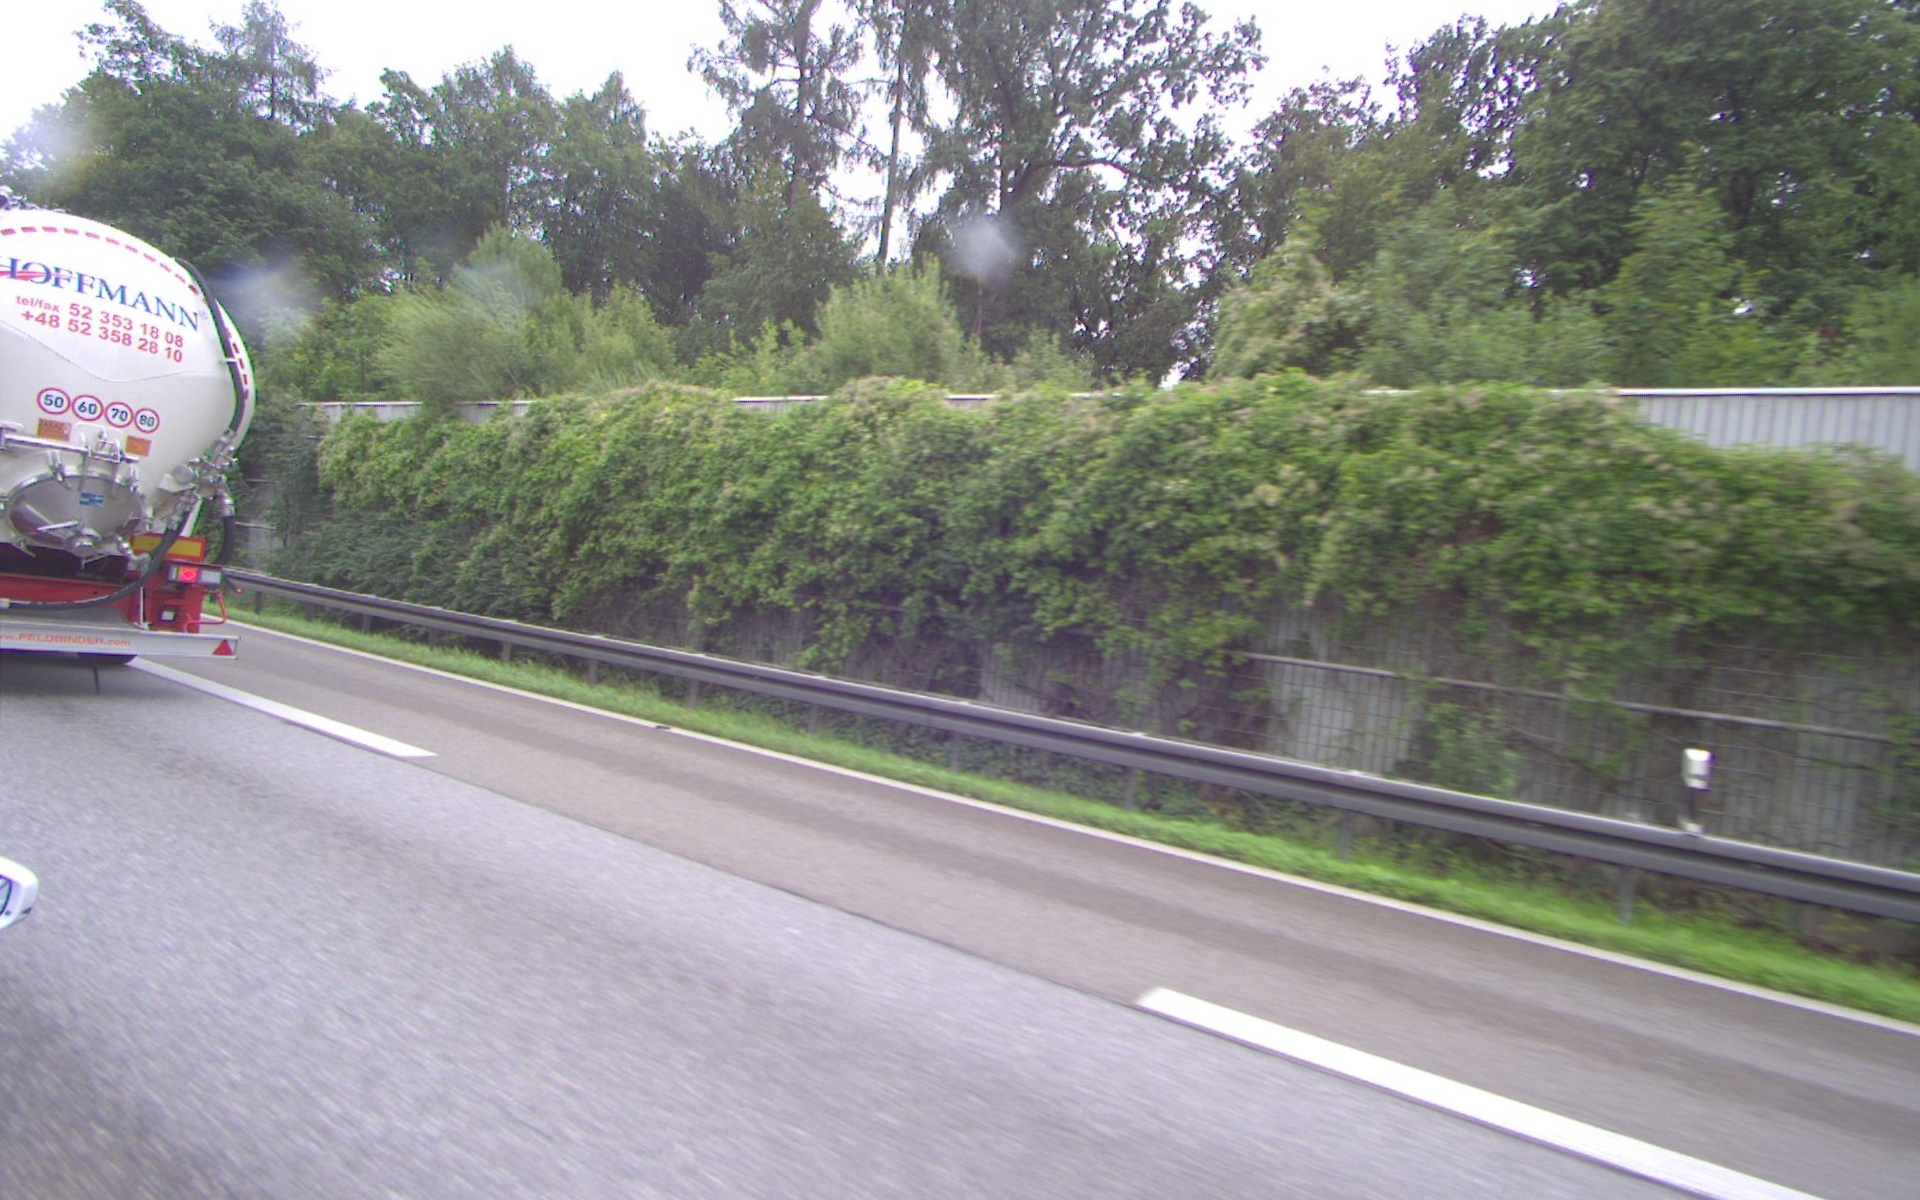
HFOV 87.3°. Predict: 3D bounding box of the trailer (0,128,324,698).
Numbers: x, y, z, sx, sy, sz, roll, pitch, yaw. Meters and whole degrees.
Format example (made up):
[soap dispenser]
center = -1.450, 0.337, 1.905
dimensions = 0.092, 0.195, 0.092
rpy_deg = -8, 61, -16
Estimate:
[trailer]
center = -11.920, -1.815, 11.156
dimensions = 12.915, 3.986, 2.672
rpy_deg = 6, -1, 32
